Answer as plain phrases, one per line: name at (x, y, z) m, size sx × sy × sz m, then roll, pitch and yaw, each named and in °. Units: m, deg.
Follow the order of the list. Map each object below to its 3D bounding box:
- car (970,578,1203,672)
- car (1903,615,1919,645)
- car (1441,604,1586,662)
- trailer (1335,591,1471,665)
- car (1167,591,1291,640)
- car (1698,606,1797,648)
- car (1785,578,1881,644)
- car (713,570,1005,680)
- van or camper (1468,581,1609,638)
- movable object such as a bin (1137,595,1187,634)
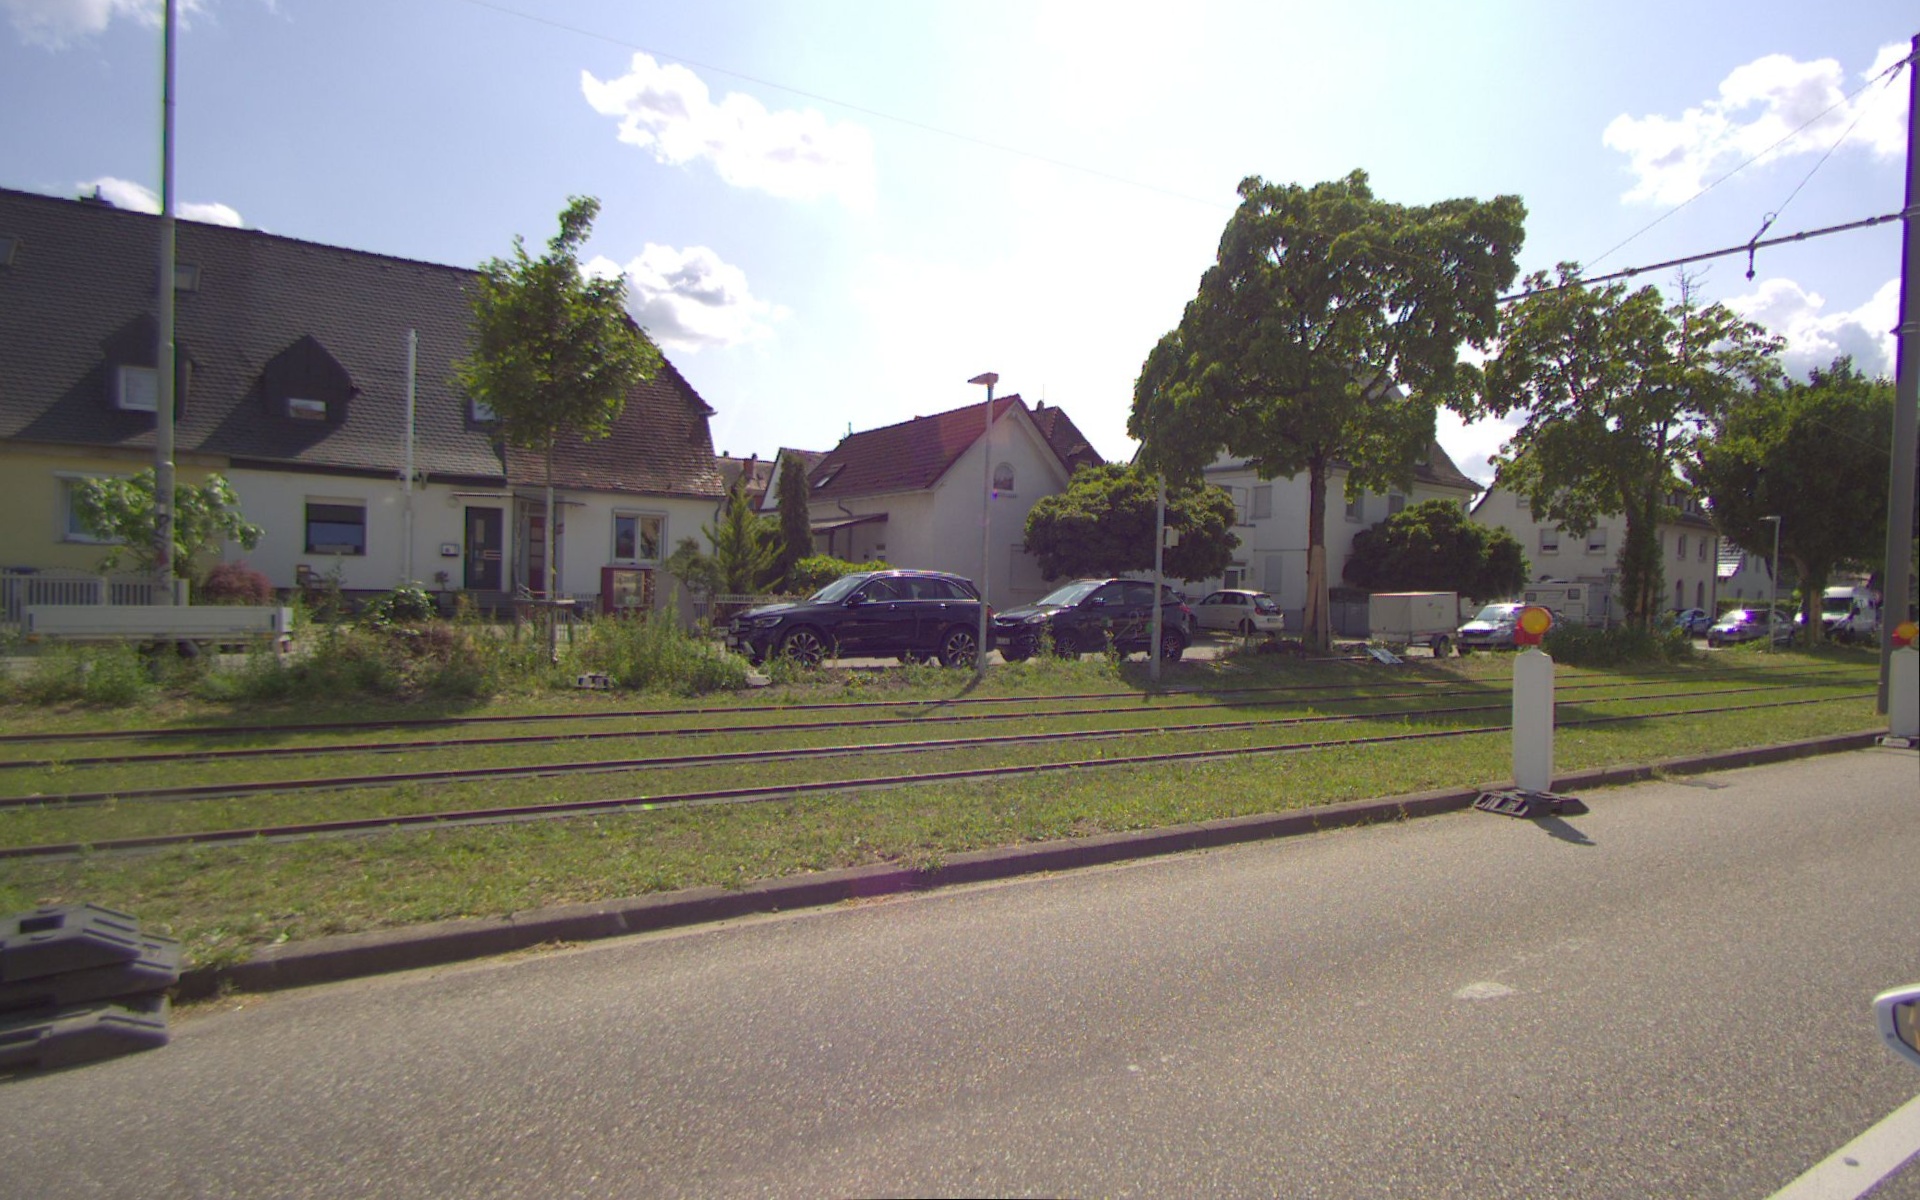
car at (2.538, 0.492, 19.687) m, size 4.517 × 1.659 × 1.686 m, roll 1°, pitch -1°, yaw -33°
car at (52.866, 1.643, 54.346) m, size 4.335 × 1.573 × 1.866 m, roll 2°, pitch 0°, yaw -35°
car at (15.712, 0.922, 28.436) m, size 4.519 × 1.525 × 1.718 m, roll 1°, pitch -1°, yaw -34°
trailer at (11.103, 0.685, 25.135) m, size 3.338 × 1.700 × 1.555 m, roll 1°, pitch 1°, yaw -34°
car at (9.409, 0.508, 35.372) m, size 1.777 × 1.592 × 3.959 m, roll 1°, pitch 1°, yaw -36°
car at (30.707, 1.044, 39.147) m, size 4.519 × 1.525 × 1.718 m, roll 1°, pitch -1°, yaw -34°
car at (39.370, 0.532, 45.217) m, size 6.941 × 2.757 × 2.058 m, roll 1°, pitch -1°, yaw -39°
car at (-1.601, 0.410, 16.681) m, size 4.519 × 1.608 × 1.800 m, roll 1°, pitch -1°, yaw -34°
van or camper at (34.134, 0.519, 59.517) m, size 2.418 × 3.168 × 6.837 m, roll 1°, pitch 1°, yaw -34°
movable object such as a bin at (7.109, 0.509, 35.370) m, size 1.077 × 1.346 × 1.352 m, roll 1°, pitch 1°, yaw -32°
